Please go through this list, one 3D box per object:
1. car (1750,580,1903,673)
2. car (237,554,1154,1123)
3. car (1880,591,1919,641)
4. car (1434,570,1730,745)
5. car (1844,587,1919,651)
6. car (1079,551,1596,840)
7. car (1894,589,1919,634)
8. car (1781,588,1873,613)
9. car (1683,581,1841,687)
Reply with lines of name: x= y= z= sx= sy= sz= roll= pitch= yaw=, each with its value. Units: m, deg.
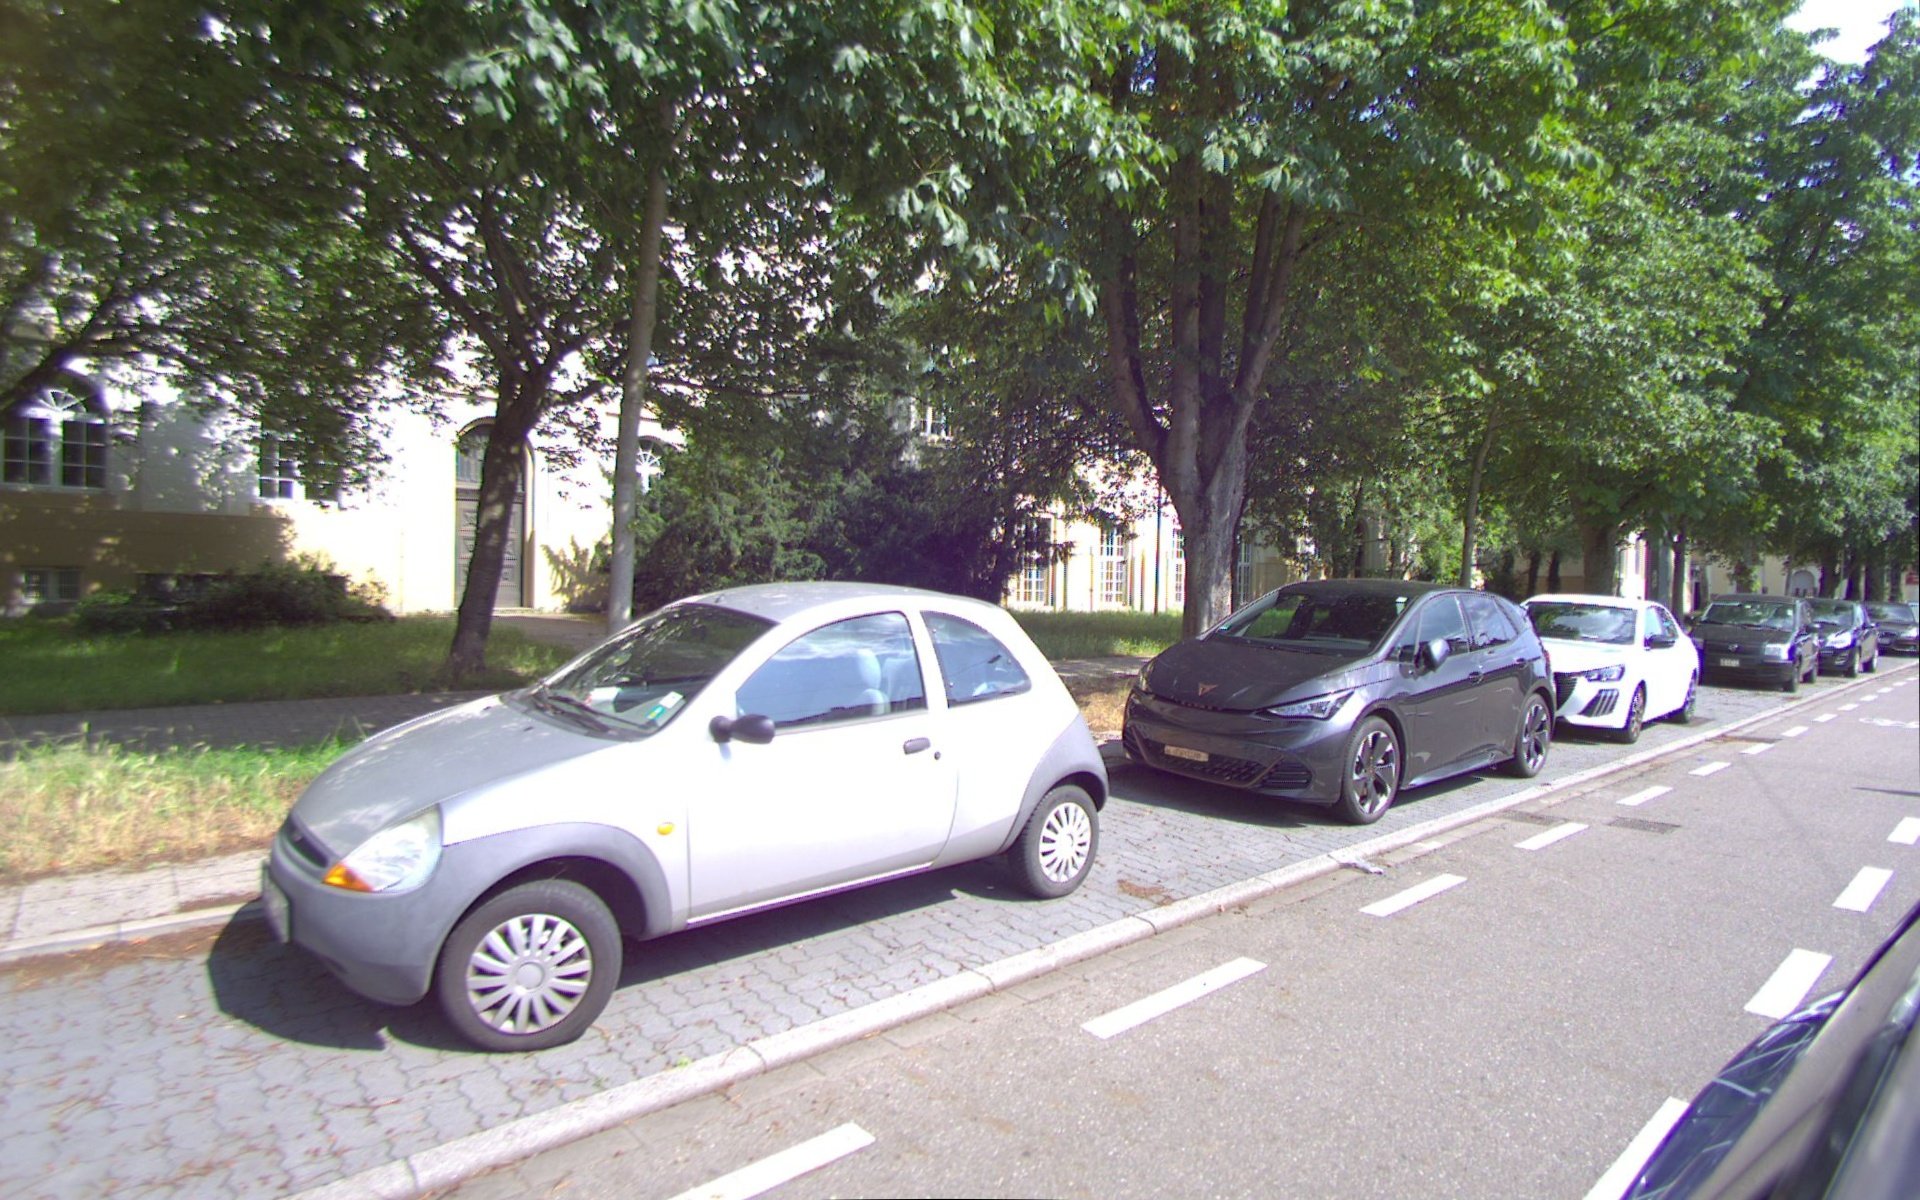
car: x=17.598 y=0.471 z=20.486 sx=4.233 sy=1.580 sz=1.694 roll=0 pitch=5 yaw=-42
car: x=-0.915 y=0.588 z=4.423 sx=3.535 sy=1.462 sz=1.594 roll=-1 pitch=4 yaw=-41
car: x=30.525 y=0.516 z=31.886 sx=3.942 sy=1.448 sz=1.640 roll=1 pitch=4 yaw=-39
car: x=7.217 y=0.504 z=11.561 sx=4.183 sy=1.542 sz=1.838 roll=0 pitch=4 yaw=-44
car: x=26.052 y=0.473 z=28.133 sx=1.833 sy=1.484 sz=4.754 roll=5 pitch=5 yaw=45
car: x=3.143 y=0.506 z=7.859 sx=4.595 sy=1.602 sz=1.728 roll=0 pitch=3 yaw=-41
car: x=34.278 y=0.428 z=35.375 sx=4.962 sy=1.458 sz=1.833 roll=0 pitch=5 yaw=-42
car: x=63.933 y=0.022 z=74.710 sx=1.821 sy=1.676 sz=4.841 roll=-1 pitch=2 yaw=-31
car: x=13.687 y=0.487 z=17.205 sx=3.500 sy=1.478 sz=1.558 roll=-1 pitch=6 yaw=-44
